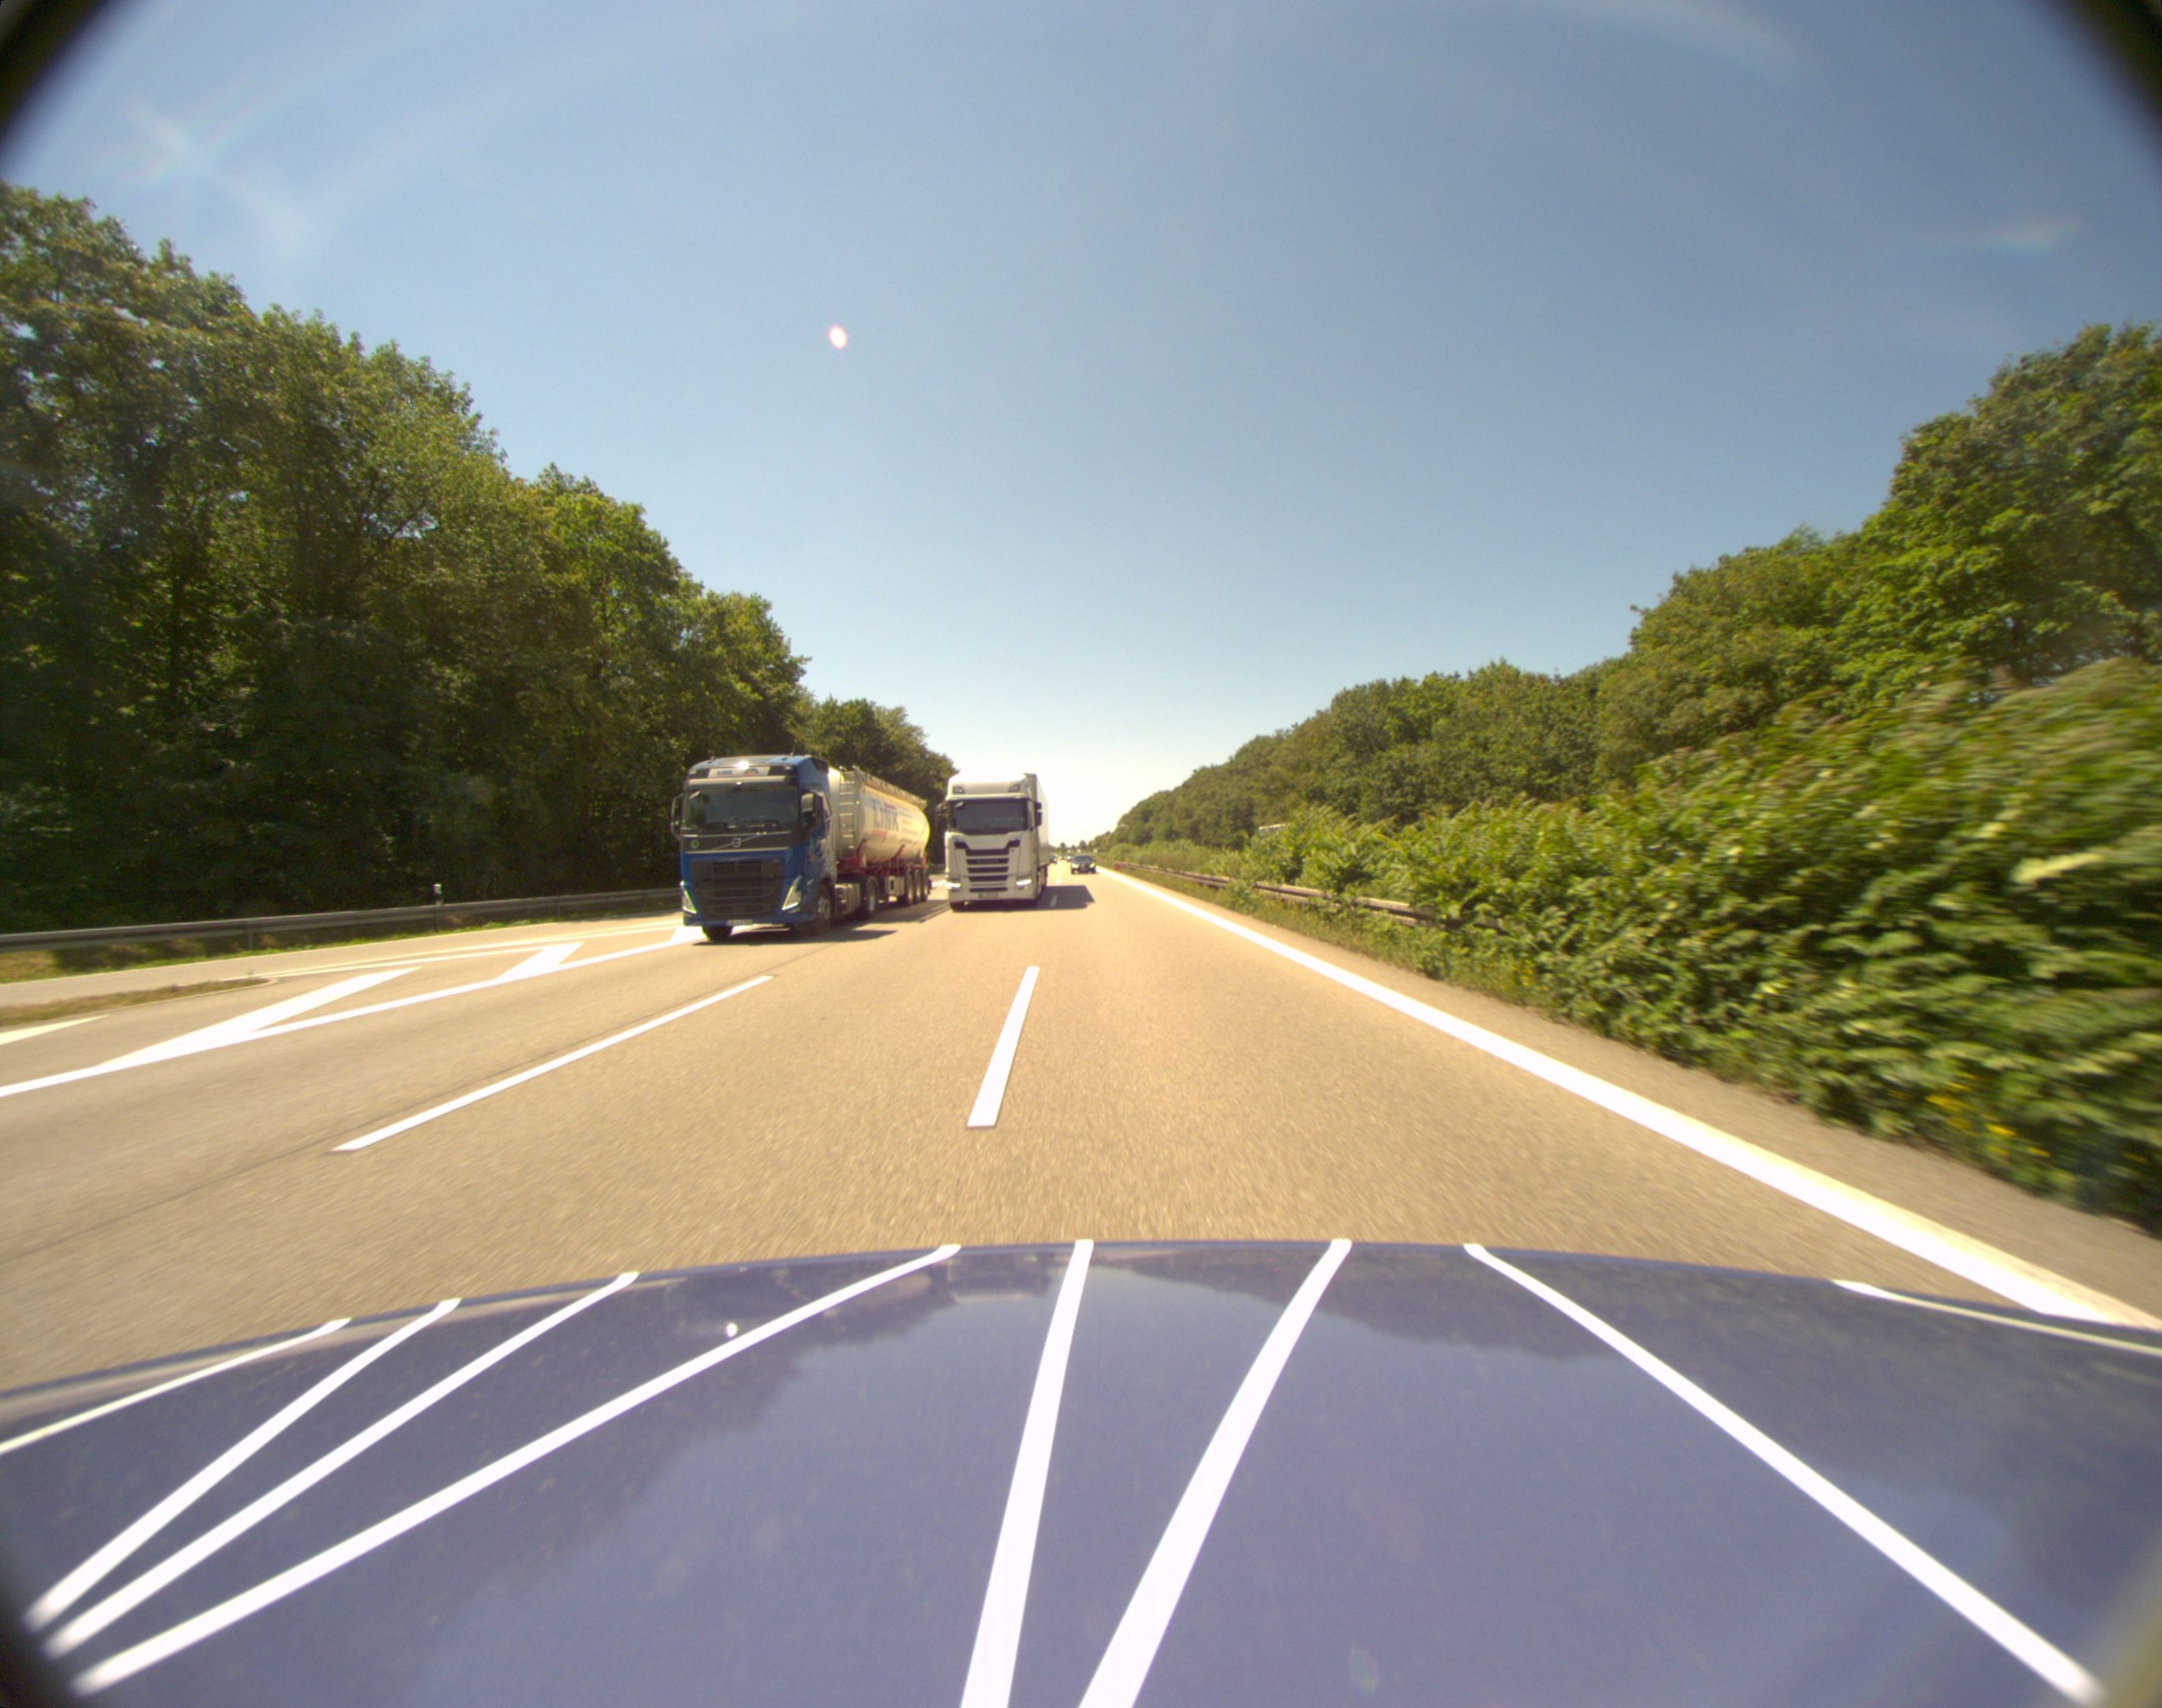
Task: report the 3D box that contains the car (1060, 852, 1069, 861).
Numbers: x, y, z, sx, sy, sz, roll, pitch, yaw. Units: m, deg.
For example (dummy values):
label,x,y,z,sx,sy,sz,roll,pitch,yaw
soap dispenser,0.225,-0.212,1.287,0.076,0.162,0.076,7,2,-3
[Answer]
label,x,y,z,sx,sy,sz,roll,pitch,yaw
car,-4.050,0.611,187.618,1.999,2.002,3.998,-1,0,-5

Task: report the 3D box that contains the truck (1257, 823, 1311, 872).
label,x,y,z,sx,sy,sz,roll,pitch,yaw
truck,17.198,-0.560,64.679,2.824,3.948,5.871,-1,1,-2

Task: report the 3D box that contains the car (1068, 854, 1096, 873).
label,x,y,z,sx,sy,sz,roll,pitch,yaw
car,0.034,0.683,57.733,1.887,1.341,4.466,-1,0,-3

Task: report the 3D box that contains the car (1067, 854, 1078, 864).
label,x,y,z,sx,sy,sz,roll,pitch,yaw
car,-1.508,0.912,136.696,1.887,1.634,3.999,-1,0,-1

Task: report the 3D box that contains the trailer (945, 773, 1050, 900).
label,x,y,z,sx,sy,sz,roll,pitch,yaw
trailer,-2.986,-0.573,31.117,3.232,4.119,12.348,-1,0,-2

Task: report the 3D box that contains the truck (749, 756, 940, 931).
label,x,y,z,sx,sy,sz,roll,pitch,yaw
truck,-6.509,-0.289,23.047,2.449,4.020,10.540,-2,1,0

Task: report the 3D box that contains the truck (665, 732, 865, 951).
label,x,y,z,sx,sy,sz,roll,pitch,yaw
truck,-6.479,-0.249,16.245,2.455,4.014,4.071,-2,1,0

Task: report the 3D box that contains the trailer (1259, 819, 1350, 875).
label,x,y,z,sx,sy,sz,roll,pitch,yaw
trailer,17.331,-0.522,60.319,2.850,3.948,13.804,-1,0,-1

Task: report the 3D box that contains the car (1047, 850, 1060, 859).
label,x,y,z,sx,sy,sz,roll,pitch,yaw
car,-4.358,0.119,119.707,1.842,1.409,4.495,-1,0,-6

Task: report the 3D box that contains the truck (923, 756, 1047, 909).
label,x,y,z,sx,sy,sz,roll,pitch,yaw
truck,-2.722,-0.584,23.066,3.237,4.133,4.558,-1,0,-2
